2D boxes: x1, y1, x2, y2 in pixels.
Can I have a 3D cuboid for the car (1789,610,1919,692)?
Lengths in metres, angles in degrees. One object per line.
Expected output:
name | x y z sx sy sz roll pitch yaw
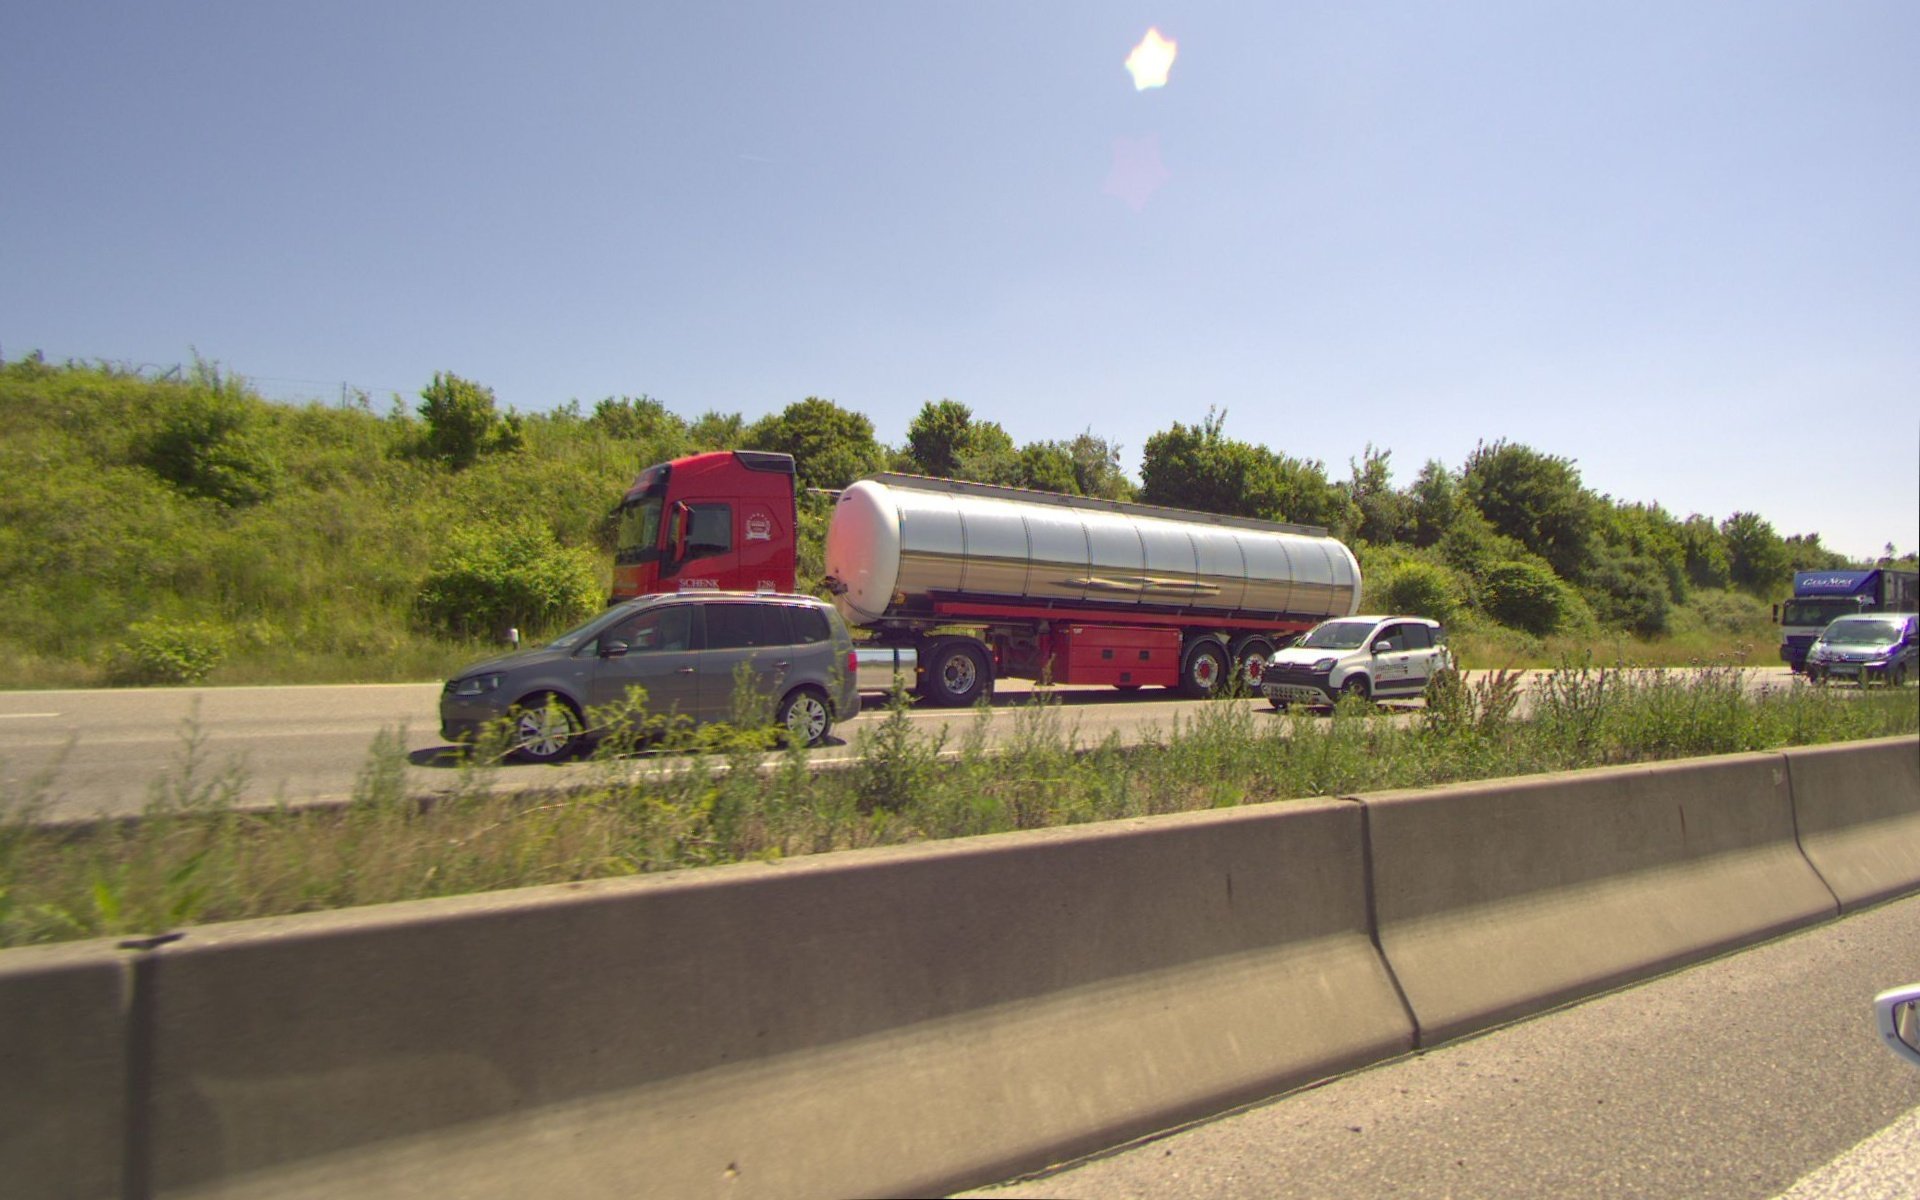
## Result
car | 24.370 1.329 26.689 5.035 1.984 2.014 2 -1 -30

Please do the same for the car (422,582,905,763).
car | -3.097 0.719 10.857 4.729 1.604 1.746 2 -1 -30

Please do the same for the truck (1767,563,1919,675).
truck | 33.487 0.787 36.988 9.821 3.723 2.533 2 -1 -30

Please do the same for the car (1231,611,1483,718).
car | 6.724 1.036 16.921 4.140 1.570 1.745 2 0 -30

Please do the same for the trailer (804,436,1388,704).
trailer | 3.175 -0.250 19.275 12.135 4.001 2.666 1 -4 -31

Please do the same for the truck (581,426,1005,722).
truck | -2.576 -0.266 15.894 5.962 3.874 2.769 2 0 -30
